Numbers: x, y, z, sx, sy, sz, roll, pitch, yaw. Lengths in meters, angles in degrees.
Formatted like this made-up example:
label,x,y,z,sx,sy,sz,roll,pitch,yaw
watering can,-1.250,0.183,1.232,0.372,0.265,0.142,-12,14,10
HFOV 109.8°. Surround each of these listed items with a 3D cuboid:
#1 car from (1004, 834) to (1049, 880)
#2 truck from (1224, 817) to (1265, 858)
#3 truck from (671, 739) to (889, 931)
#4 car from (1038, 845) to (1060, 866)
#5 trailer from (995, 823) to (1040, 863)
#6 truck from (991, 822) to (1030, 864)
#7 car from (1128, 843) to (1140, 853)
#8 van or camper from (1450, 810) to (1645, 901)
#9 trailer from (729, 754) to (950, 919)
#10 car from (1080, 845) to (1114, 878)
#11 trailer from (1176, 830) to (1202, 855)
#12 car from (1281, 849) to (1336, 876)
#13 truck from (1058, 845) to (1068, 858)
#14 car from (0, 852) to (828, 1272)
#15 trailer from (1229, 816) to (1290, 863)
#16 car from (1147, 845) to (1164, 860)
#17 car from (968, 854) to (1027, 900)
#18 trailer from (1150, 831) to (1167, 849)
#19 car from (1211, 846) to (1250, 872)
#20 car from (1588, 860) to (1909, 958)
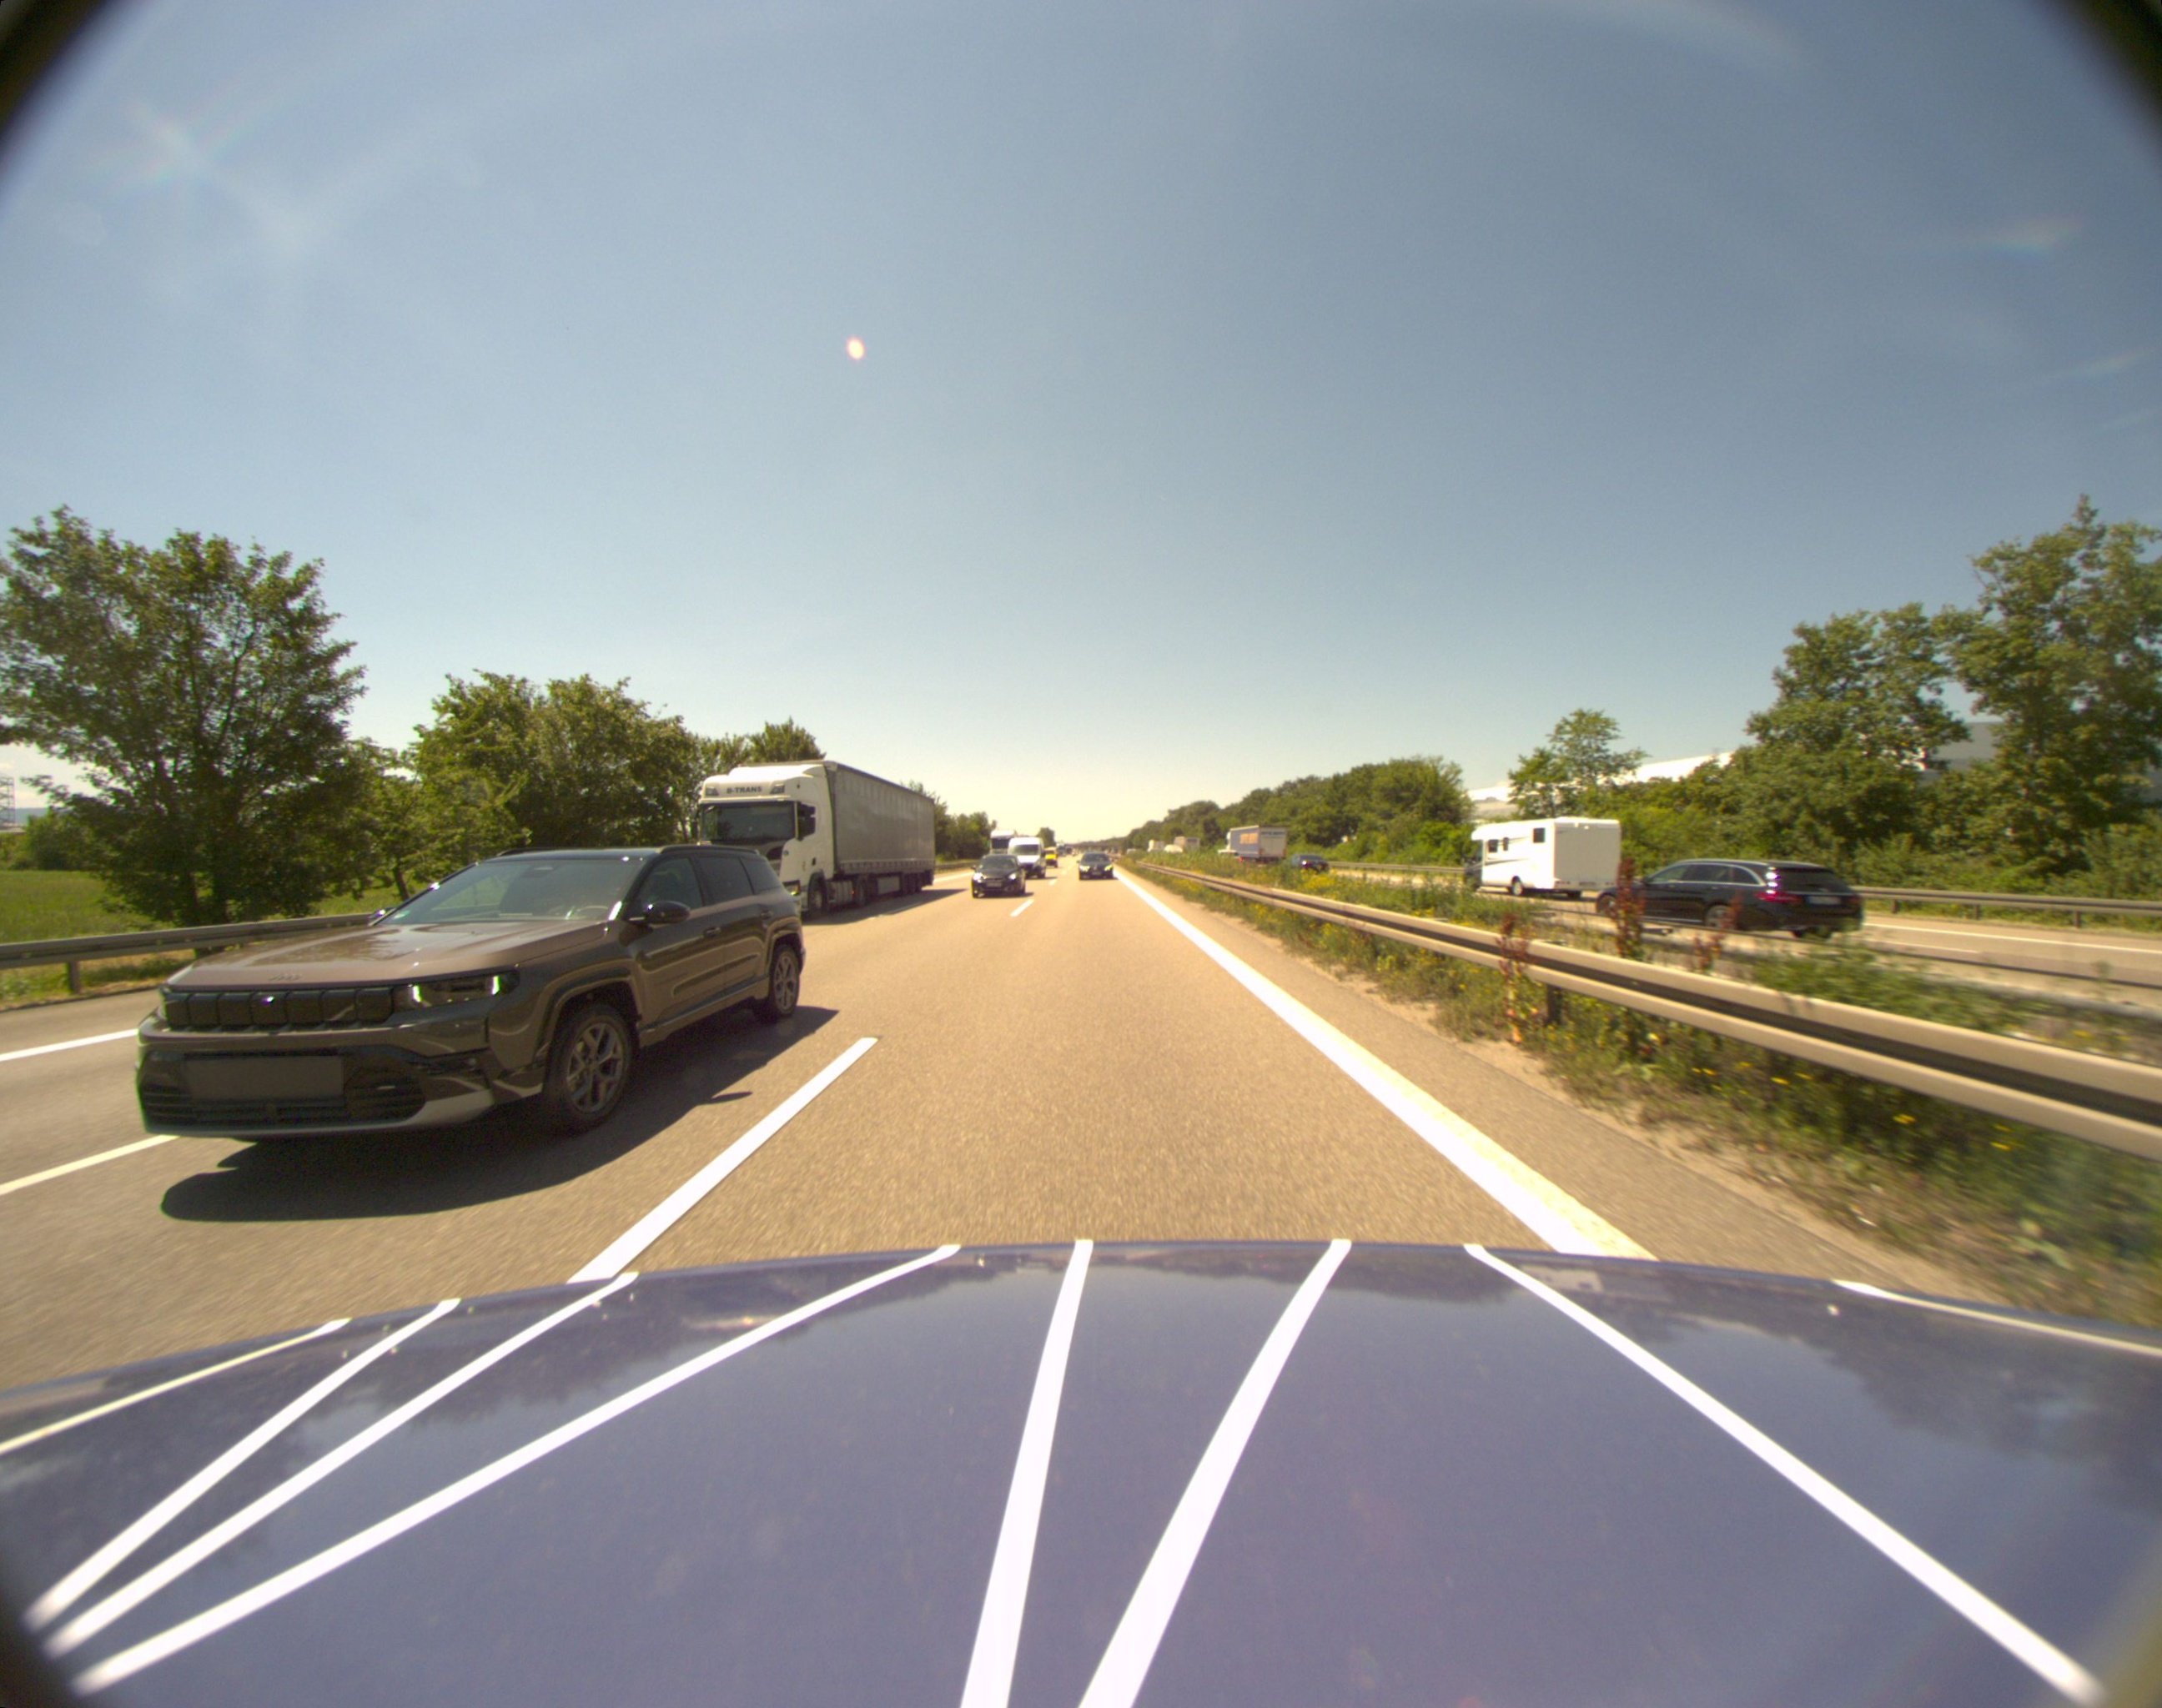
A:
label,x,y,z,sx,sy,sz,roll,pitch,yaw
car,-3.177,0.114,45.567,2.159,2.494,5.945,-2,1,0
truck,17.561,-1.838,82.023,3.013,4.188,6.309,1,2,1
truck,-7.792,-0.471,20.974,2.816,4.280,7.192,-2,1,2
car,-3.153,0.102,75.106,1.958,1.939,3.999,-2,1,0
trailer,-6.734,-1.141,82.912,2.699,3.943,13.962,-2,1,3
truck,-7.078,-1.081,77.054,2.699,3.943,7.704,-2,1,3
car,11.501,-1.319,165.262,1.998,2.019,5.490,-2,1,0
van or camper,17.315,0.003,28.981,2.857,2.952,7.445,1,1,1
trailer,-7.632,-0.557,27.277,2.816,4.280,14.253,-2,1,2
car,0.890,0.385,41.156,1.690,1.646,3.462,-2,1,2
trailer,19.078,-1.964,134.835,2.764,4.079,14.051,2,1,1
car,13.699,0.469,45.921,1.823,1.543,3.863,0,1,-6
truck,-5.368,-0.693,227.571,2.976,3.626,7.147,-2,1,-2
car,-3.659,0.875,5.560,1.872,1.665,4.745,-2,1,1
trailer,17.456,-1.588,75.503,2.984,4.188,13.730,1,2,1
car,11.109,-0.234,113.866,1.999,2.061,4.712,-2,1,-1
car,-2.913,0.769,27.073,1.692,1.465,3.432,-1,0,-1
trailer,17.782,-3.214,175.116,2.746,4.062,14.347,1,1,2
car,10.413,0.321,53.164,1.738,1.606,4.590,4,1,0
car,12.292,0.900,14.568,1.962,1.459,4.751,1,1,0
